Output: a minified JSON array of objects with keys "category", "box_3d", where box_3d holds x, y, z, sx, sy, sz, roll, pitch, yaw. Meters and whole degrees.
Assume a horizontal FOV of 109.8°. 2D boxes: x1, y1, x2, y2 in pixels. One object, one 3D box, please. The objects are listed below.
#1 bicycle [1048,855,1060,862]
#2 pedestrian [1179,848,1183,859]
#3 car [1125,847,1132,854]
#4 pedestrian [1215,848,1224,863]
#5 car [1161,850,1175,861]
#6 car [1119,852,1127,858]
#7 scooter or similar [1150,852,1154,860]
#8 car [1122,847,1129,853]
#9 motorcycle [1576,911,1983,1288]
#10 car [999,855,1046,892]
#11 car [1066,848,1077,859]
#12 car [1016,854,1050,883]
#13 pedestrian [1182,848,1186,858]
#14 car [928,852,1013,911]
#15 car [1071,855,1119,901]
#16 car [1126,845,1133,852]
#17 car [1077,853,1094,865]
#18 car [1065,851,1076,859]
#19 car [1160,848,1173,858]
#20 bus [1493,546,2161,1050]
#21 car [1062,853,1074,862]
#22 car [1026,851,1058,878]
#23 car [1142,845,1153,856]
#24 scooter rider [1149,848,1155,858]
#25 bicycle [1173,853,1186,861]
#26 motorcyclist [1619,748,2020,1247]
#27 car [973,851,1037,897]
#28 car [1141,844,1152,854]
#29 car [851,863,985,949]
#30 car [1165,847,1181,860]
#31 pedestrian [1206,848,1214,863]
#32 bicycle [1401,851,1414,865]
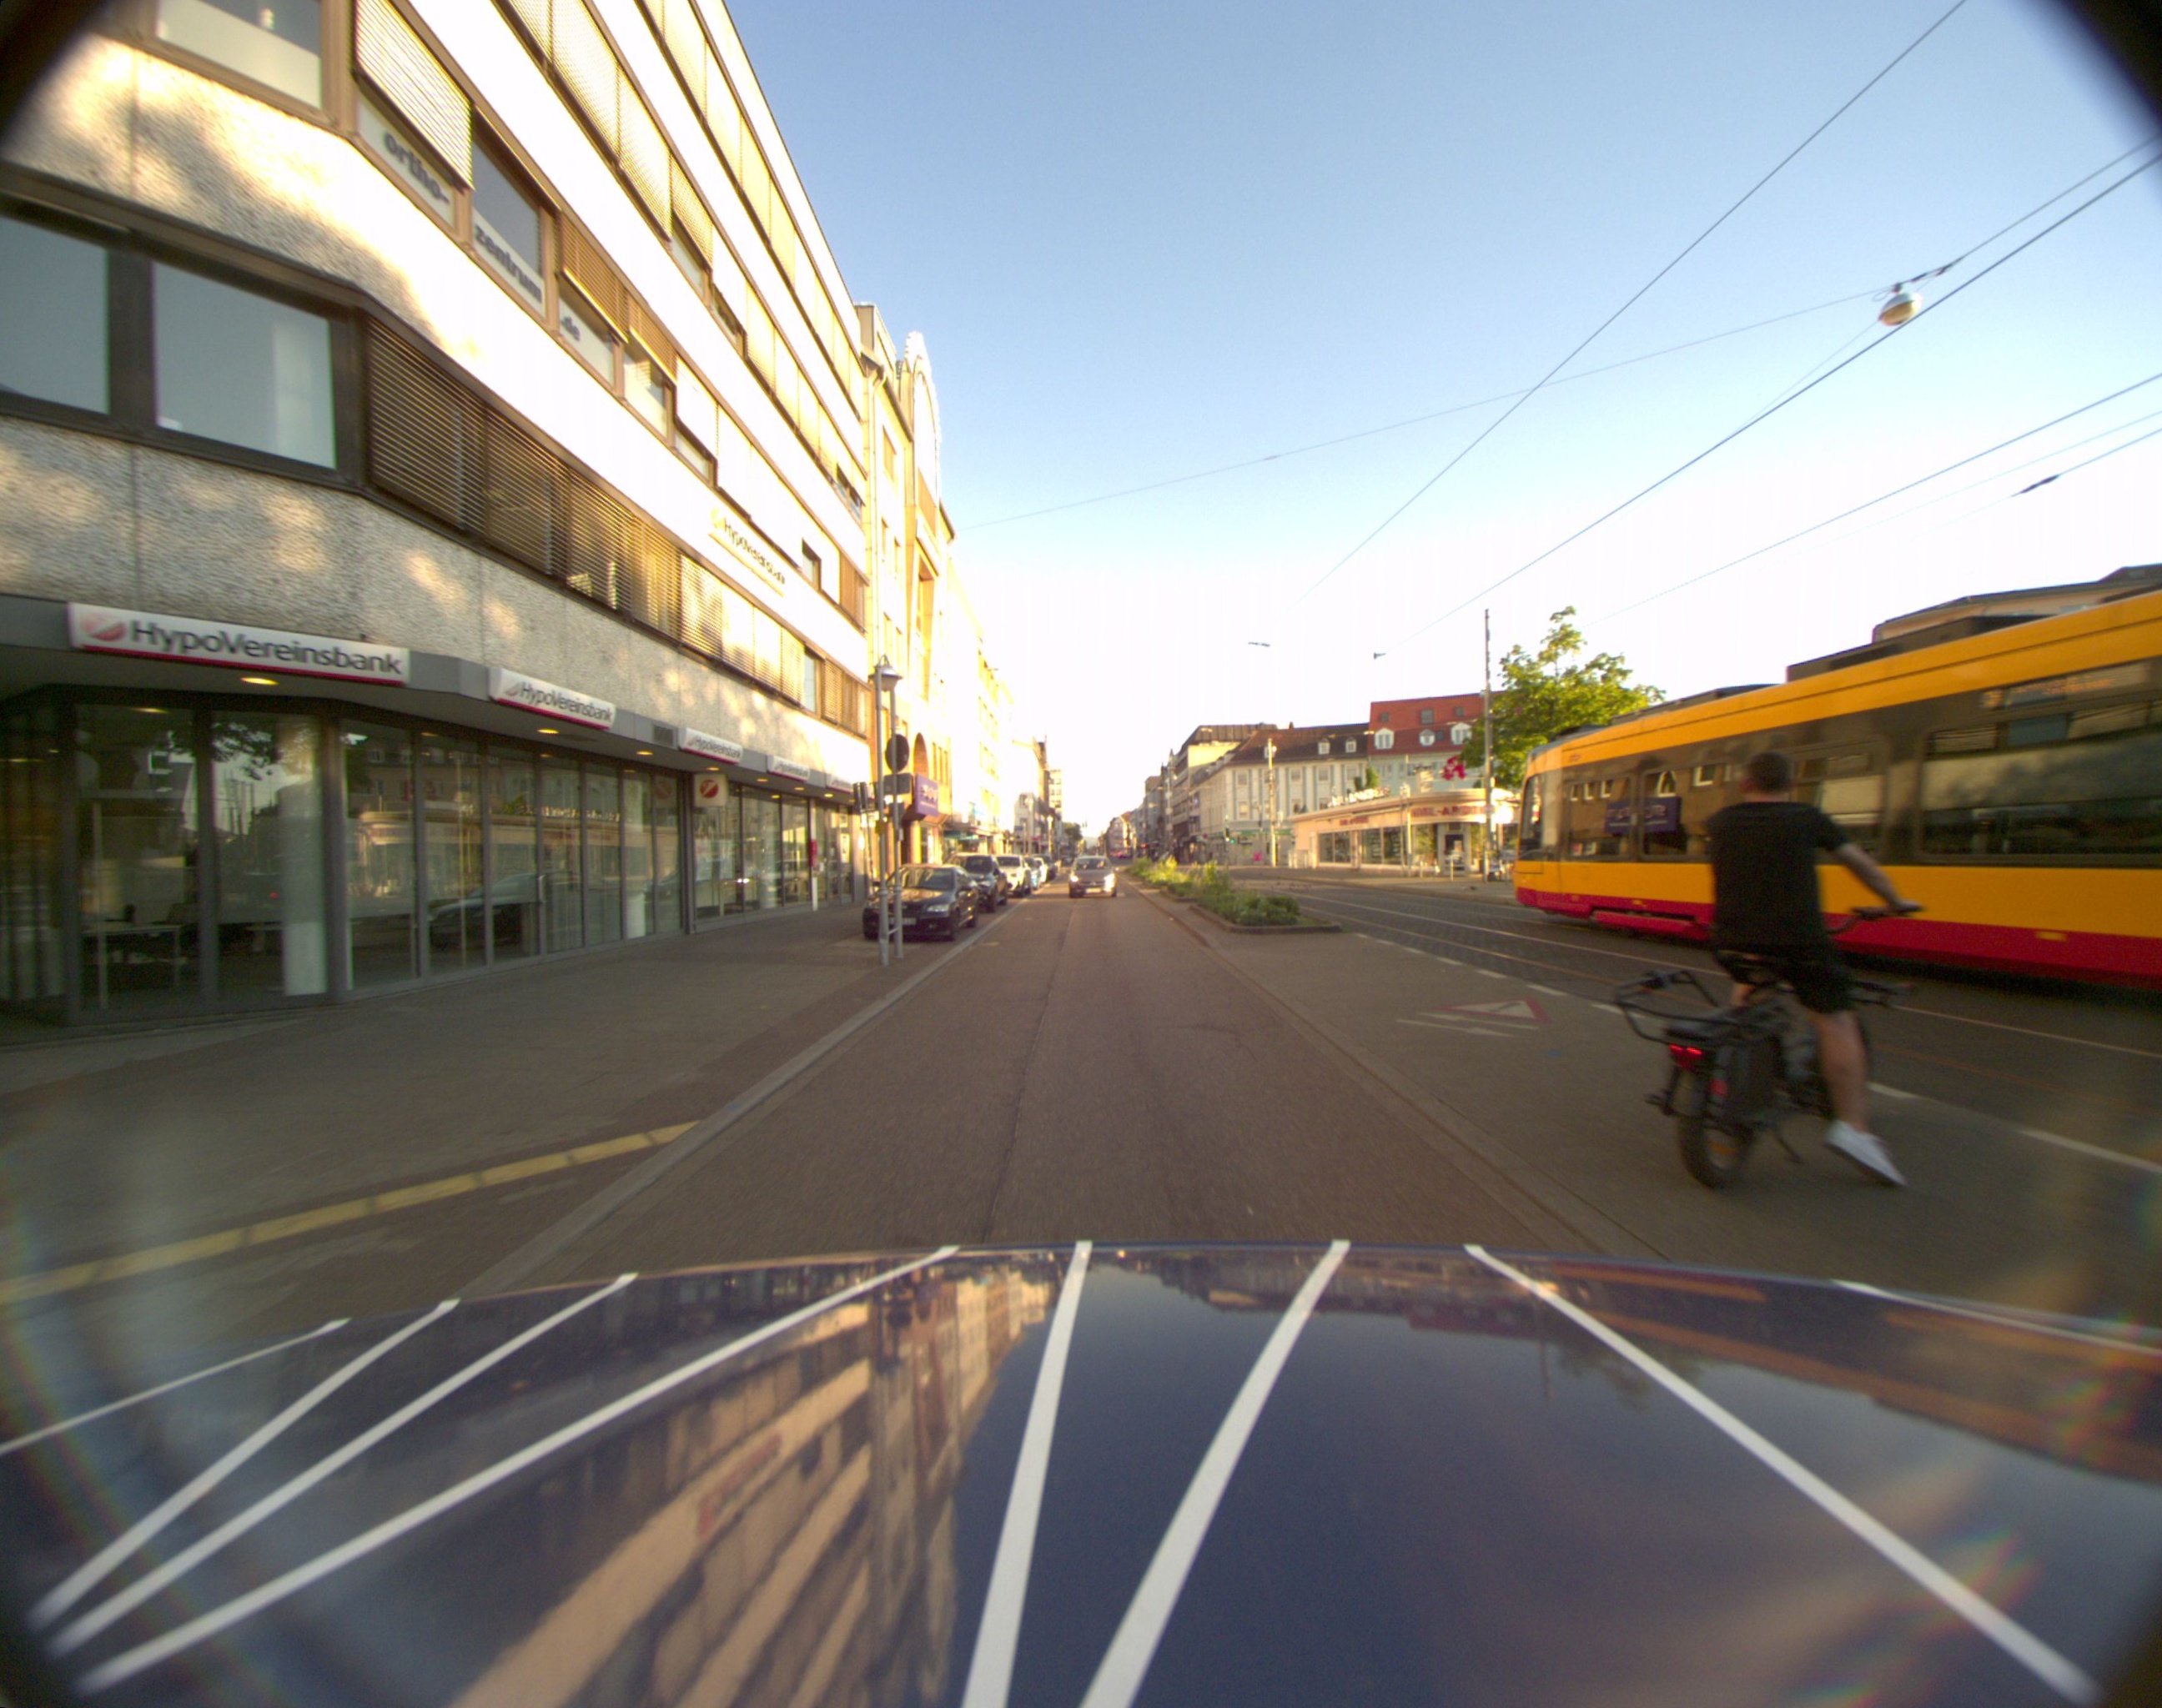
[{"category":"bicycle","box_3d":[-3.952,0.666,111.180,1.828,1.025,0.443,-1,1,-5]},{"category":"pedestrian","box_3d":[16.478,-0.099,125.393,0.509,1.675,0.583,-2,2,0]},{"category":"car","box_3d":[14.396,-1.134,230.521,1.974,2.002,3.998,-1,2,-2]},{"category":"pedestrian","box_3d":[16.175,0.183,88.638,0.826,1.631,0.814,-2,1,17]},{"category":"car","box_3d":[13.805,0.255,120.926,1.701,1.614,4.000,-2,0,0]},{"category":"car","box_3d":[11.327,0.282,204.892,1.895,1.471,4.545,1,-2,1]},{"category":"scooter or similar","box_3d":[12.663,0.326,135.132,0.545,1.343,1.669,-1,0,1]},{"category":"car","box_3d":[14.179,-1.323,243.850,1.960,2.002,3.998,-1,2,-2]},{"category":"motorcycle","box_3d":[3.074,0.899,3.297,2.053,1.117,0.567,-2,3,-26]},{"category":"car","box_3d":[-2.678,0.836,35.664,1.814,1.543,4.836,-1,0,0]},{"category":"car","box_3d":[-1.918,-0.051,153.972,2.041,2.105,4.386,-1,0,0]},{"category":"car","box_3d":[-2.688,0.805,43.463,1.735,1.427,4.150,-1,2,-1]},{"category":"pedestrian","box_3d":[17.014,-0.155,125.354,0.515,1.725,0.600,-1,3,1]},{"category":"car","box_3d":[-3.150,0.781,22.484,1.780,1.529,4.579,-1,-1,0]},{"category":"car","box_3d":[0.480,0.811,27.265,1.587,1.445,3.842,-1,1,0]},{"category":"car","box_3d":[15.204,-1.748,236.859,1.975,2.181,4.132,-1,2,0]},{"category":"car","box_3d":[0.556,0.645,98.022,1.914,1.350,3.747,-2,0,4]},{"category":"car","box_3d":[-2.070,0.136,148.742,2.041,1.550,4.386,-1,0,0]},{"category":"car","box_3d":[14.532,-0.256,129.216,1.819,1.548,3.999,-1,2,1]},{"category":"bus","box_3d":[9.228,-0.428,6.115,2.829,3.630,17.072,-1,0,1]},{"category":"car","box_3d":[-2.306,0.556,136.960,2.041,1.550,4.386,-1,0,0]},{"category":"car","box_3d":[-2.493,0.652,49.381,1.769,1.596,4.287,-1,0,0]},{"category":"car","box_3d":[13.609,-0.739,155.289,1.998,2.002,3.999,-1,2,1]},{"category":"scooter rider","box_3d":[12.643,-0.201,135.218,0.813,1.796,0.788,-1,1,-1]},{"category":"bicycle","box_3d":[13.301,0.376,102.365,1.740,1.052,0.499,-1,-1,9]},{"category":"motorcyclist","box_3d":[3.207,0.498,3.368,1.006,1.803,0.957,-2,3,-26]},{"category":"car","box_3d":[-2.866,0.716,29.524,1.821,1.576,4.723,-2,0,2]},{"category":"car","box_3d":[13.963,-1.031,162.287,1.998,2.048,3.999,-1,2,1]},{"category":"car","box_3d":[-3.107,0.927,15.362,1.659,1.372,4.340,2,0,1]},{"category":"car","box_3d":[13.874,-0.047,114.893,1.915,1.785,4.128,-3,1,0]},{"category":"pedestrian","box_3d":[14.989,0.219,88.492,0.827,1.718,0.814,-2,1,8]},{"category":"bicycle","box_3d":[25.757,0.311,59.947,0.558,1.037,2.158,0,1,33]}]
